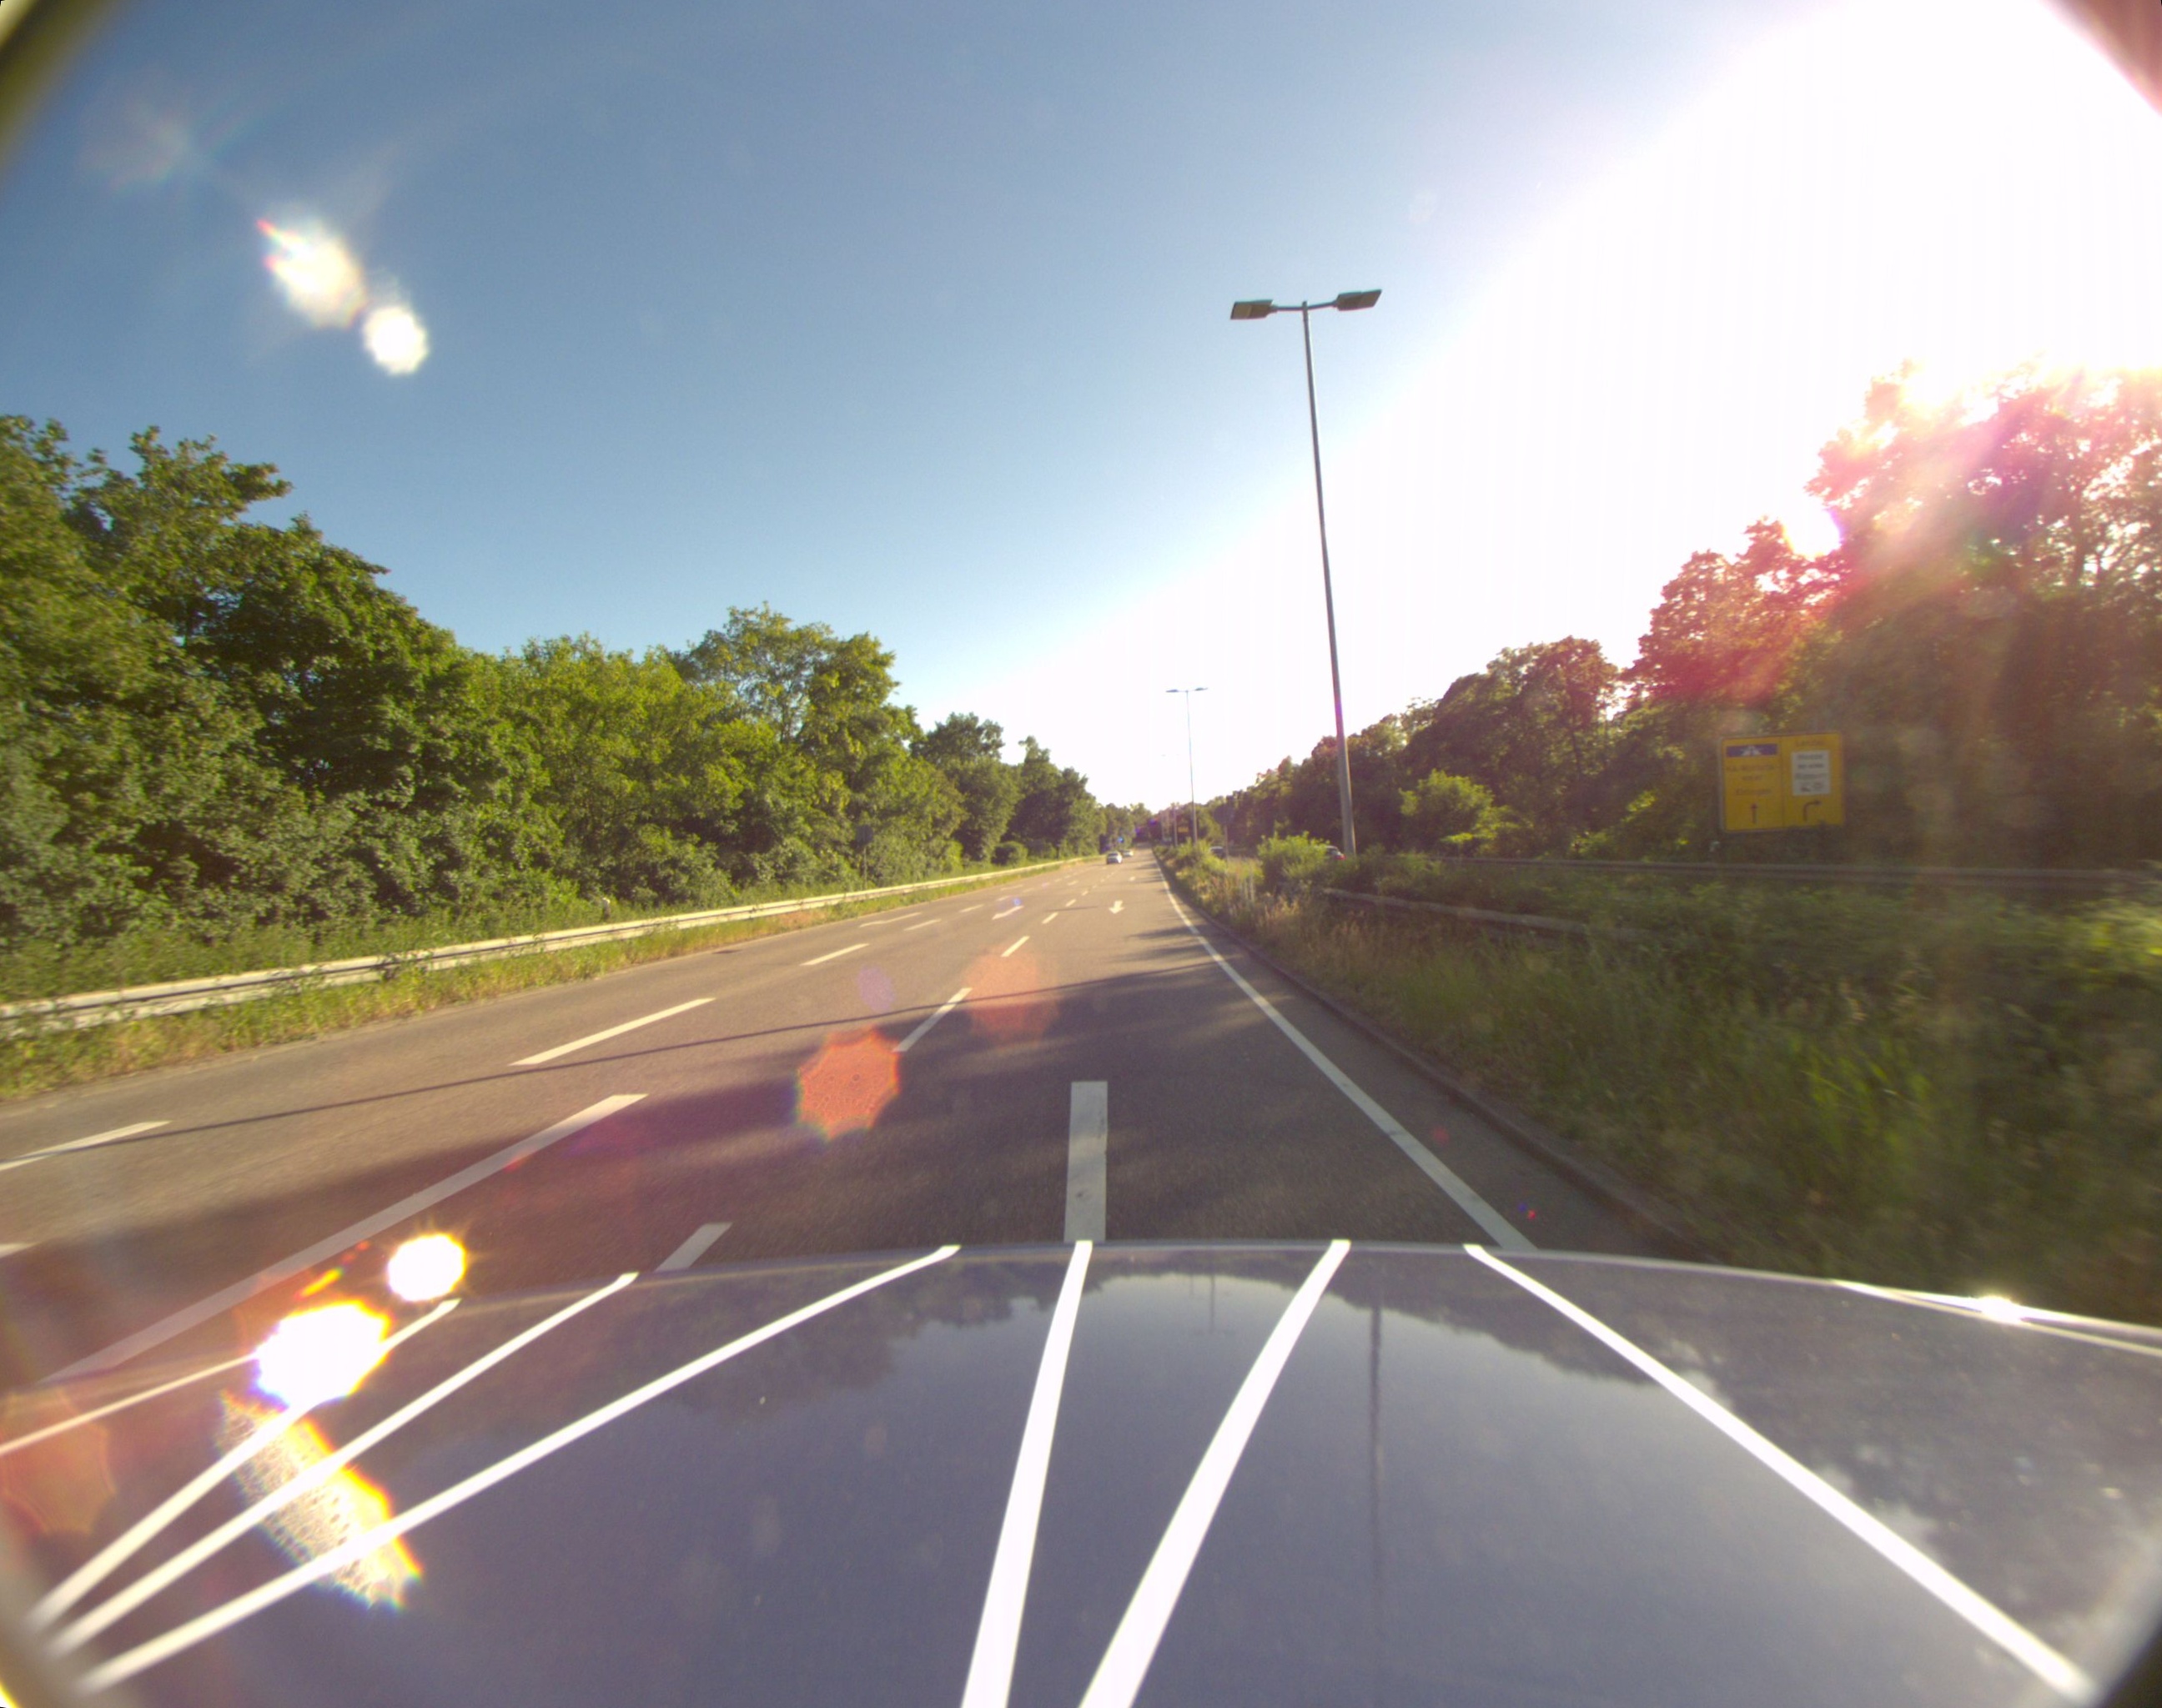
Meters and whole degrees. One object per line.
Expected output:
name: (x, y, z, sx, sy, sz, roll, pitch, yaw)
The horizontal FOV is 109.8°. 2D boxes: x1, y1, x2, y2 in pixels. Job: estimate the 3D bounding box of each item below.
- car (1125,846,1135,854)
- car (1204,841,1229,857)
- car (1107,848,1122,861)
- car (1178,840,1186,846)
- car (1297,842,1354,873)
car: (9.739, -0.841, 149.933, 1.909, 1.477, 3.345, -3, 0, 4)
car: (13.104, -0.513, 73.570, 1.809, 1.408, 4.532, -2, 1, 3)
car: (4.106, 0.003, 92.752, 1.681, 1.477, 3.391, -3, 0, 4)
car: (23.655, -2.655, 177.937, 1.777, 1.349, 4.463, -4, 1, 5)
car: (12.267, 0.143, 38.388, 1.890, 1.412, 4.366, -1, 1, 6)
